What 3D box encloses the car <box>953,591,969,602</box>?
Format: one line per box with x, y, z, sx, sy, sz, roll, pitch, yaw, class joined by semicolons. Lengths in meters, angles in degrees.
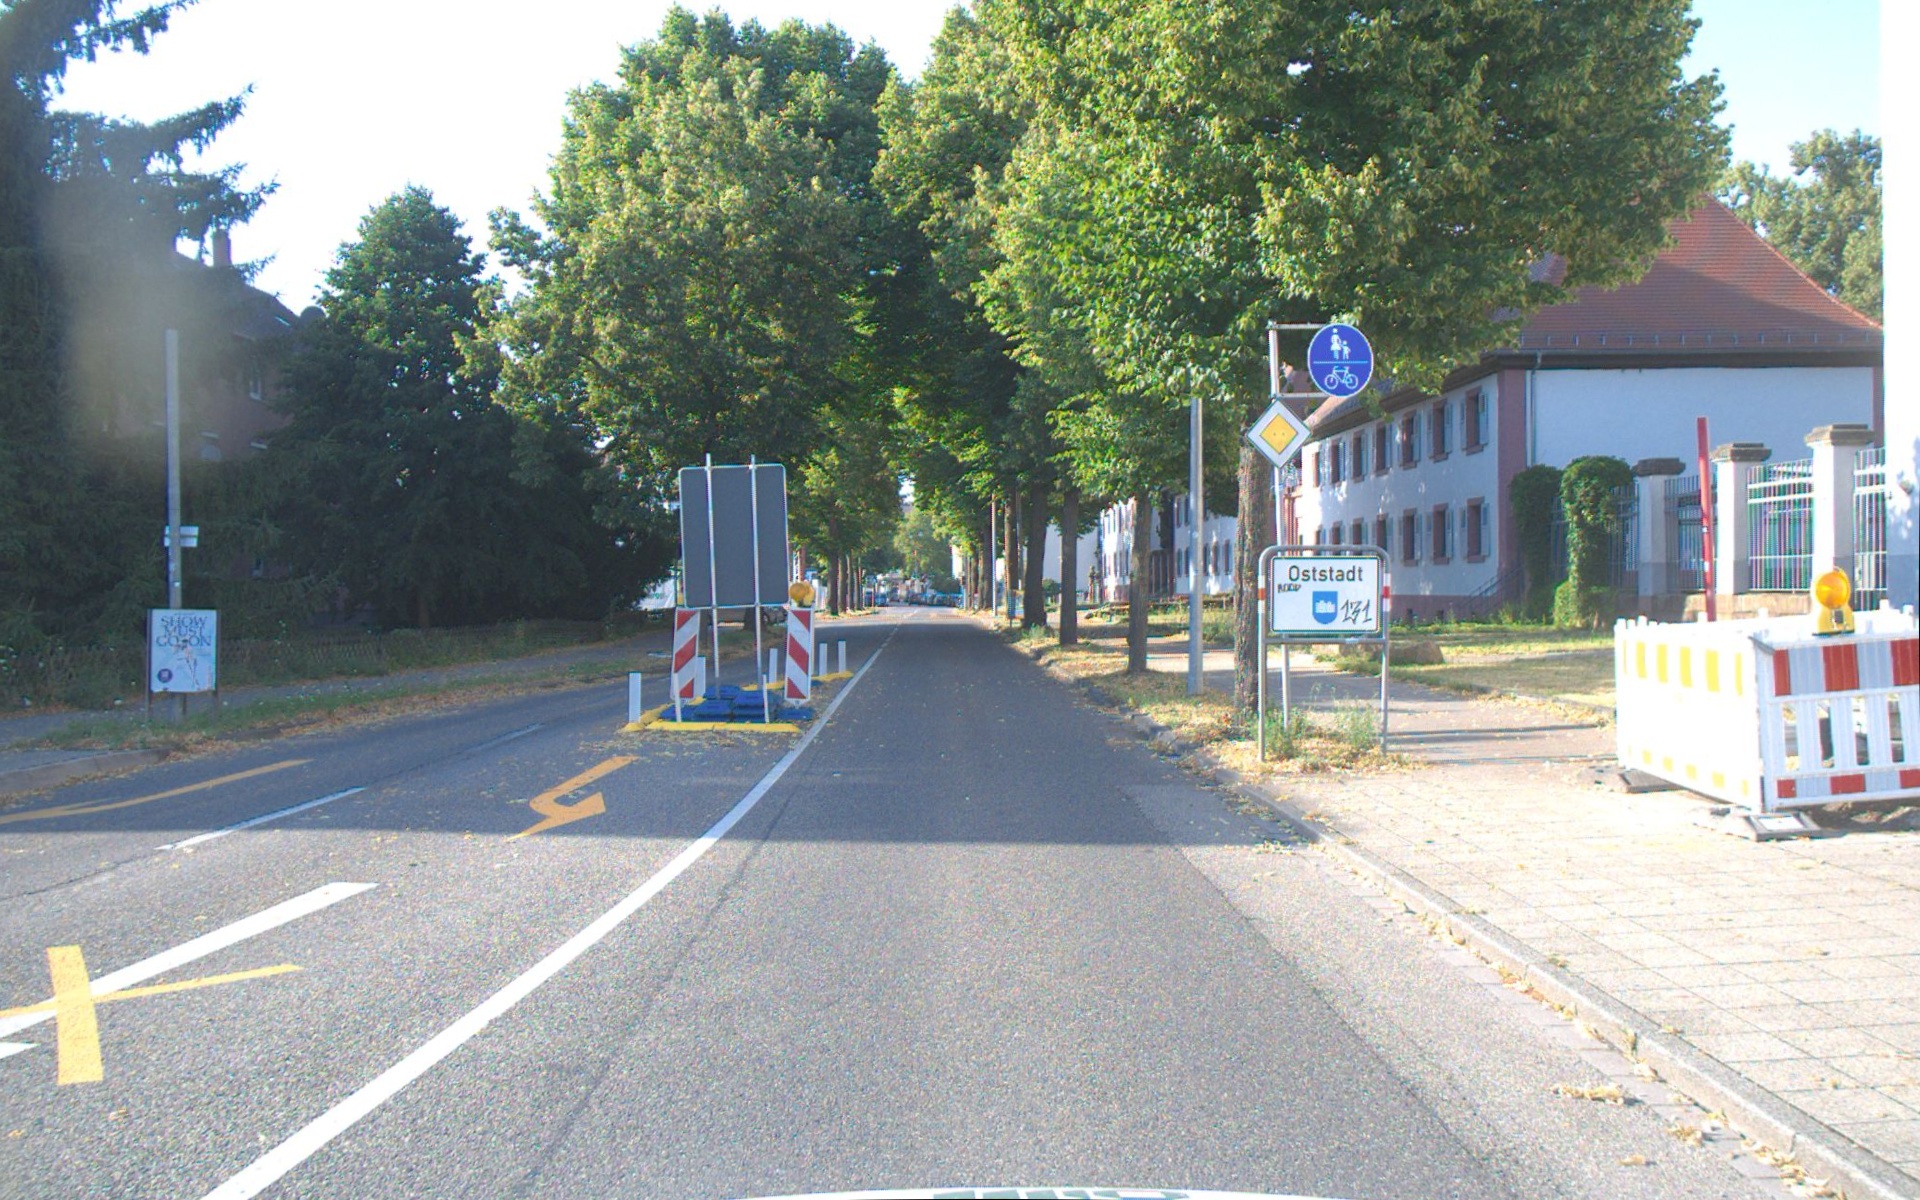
0.118;-0.449;197.934;1.803;1.283;4.001;-1;0;1;car

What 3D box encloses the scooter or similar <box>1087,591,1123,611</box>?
5.552;0.022;63.531;1.202;0.557;1.063;-10;1;-2;scooter or similar

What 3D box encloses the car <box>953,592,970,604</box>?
0.187;-0.169;187.212;1.804;1.283;3.999;-2;0;-2;car

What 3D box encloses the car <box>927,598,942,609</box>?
-3.634;0.500;233.756;1.805;1.410;3.996;-2;0;-4;car

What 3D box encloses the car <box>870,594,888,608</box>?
-10.247;0.166;209.535;1.955;1.717;3.994;-1;-1;-7;car

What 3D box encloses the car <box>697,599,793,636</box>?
-8.966;0.721;69.270;3.764;1.499;1.651;-1;0;1;car

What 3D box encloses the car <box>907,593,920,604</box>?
-6.692;-0.195;238.014;1.681;1.512;3.996;-2;0;-5;car

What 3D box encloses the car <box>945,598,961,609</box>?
-0.906;0.429;204.721;1.804;1.283;3.999;-2;0;-2;car
